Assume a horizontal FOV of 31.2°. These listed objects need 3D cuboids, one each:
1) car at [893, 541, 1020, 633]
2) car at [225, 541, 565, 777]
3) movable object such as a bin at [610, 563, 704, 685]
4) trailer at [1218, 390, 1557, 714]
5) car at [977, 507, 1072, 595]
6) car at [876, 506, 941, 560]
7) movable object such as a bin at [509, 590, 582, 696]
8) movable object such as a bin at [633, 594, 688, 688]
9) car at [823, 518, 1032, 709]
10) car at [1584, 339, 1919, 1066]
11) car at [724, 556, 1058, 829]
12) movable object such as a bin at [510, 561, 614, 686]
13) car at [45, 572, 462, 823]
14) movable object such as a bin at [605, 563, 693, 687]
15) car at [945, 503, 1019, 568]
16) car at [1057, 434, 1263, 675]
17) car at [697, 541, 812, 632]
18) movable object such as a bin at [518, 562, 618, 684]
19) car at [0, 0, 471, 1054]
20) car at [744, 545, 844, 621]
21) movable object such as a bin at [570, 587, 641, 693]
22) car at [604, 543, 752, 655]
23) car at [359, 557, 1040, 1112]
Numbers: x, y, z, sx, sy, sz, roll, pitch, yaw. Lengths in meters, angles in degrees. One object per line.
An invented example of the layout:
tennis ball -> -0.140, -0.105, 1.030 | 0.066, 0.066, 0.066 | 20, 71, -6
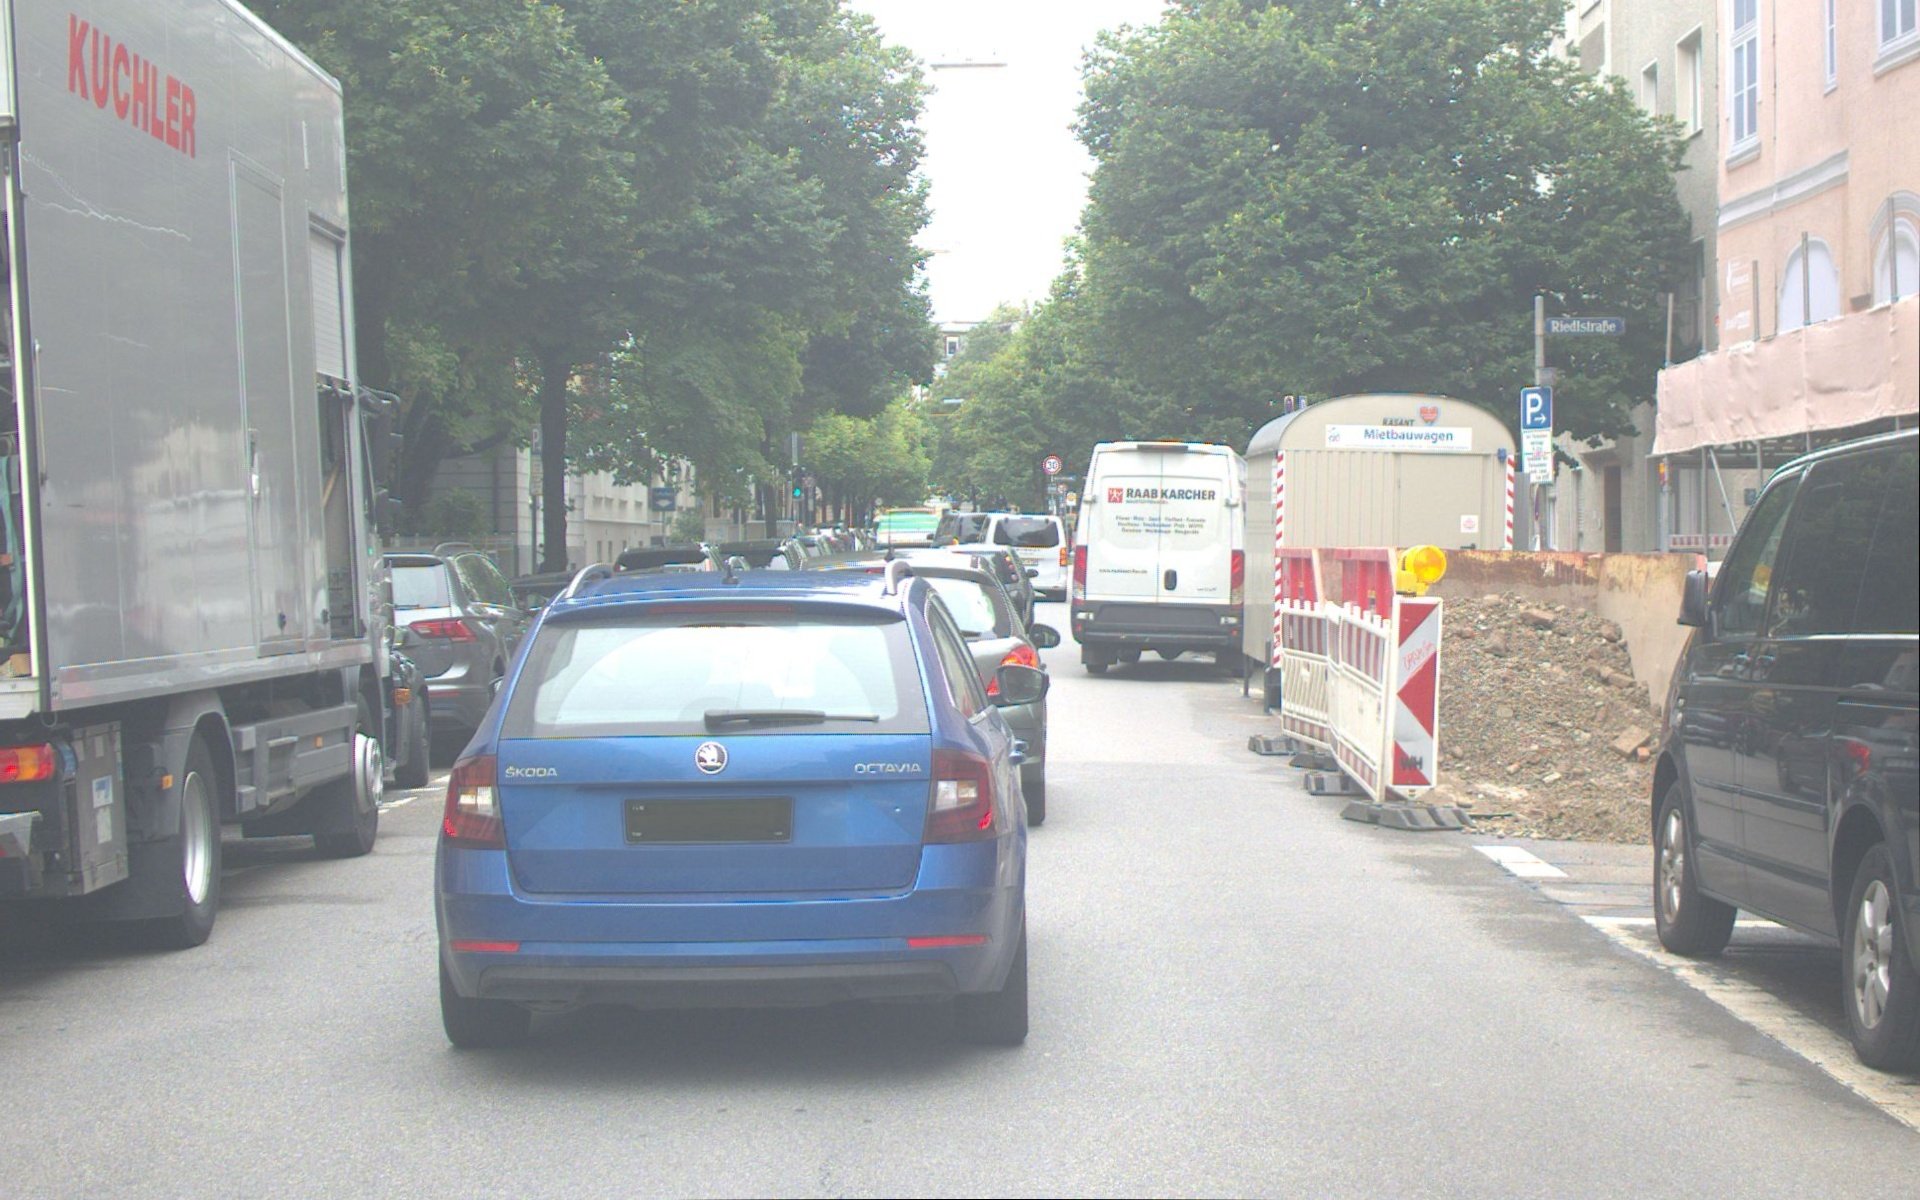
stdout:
car -> -0.096, -0.233, 54.772 | 1.867, 1.343, 4.348 | 1, 1, -2
car -> -4.248, 0.384, 26.467 | 1.785, 1.622, 4.185 | -2, 1, 1
movable object such as a bin -> -3.592, 0.276, 40.871 | 1.020, 1.372, 1.104 | -3, 1, -3
trailer -> 4.027, -0.454, 33.760 | 2.502, 2.830, 6.901 | 1, 0, 1
car -> 1.374, -1.096, 75.265 | 1.867, 1.863, 4.348 | 1, 1, -2
car -> -1.665, -2.143, 109.226 | 2.008, 1.647, 4.348 | 1, 1, -1
movable object such as a bin -> -4.675, 0.480, 38.818 | 0.721, 1.134, 0.659 | -3, 1, -3
movable object such as a bin -> -3.388, 0.462, 38.918 | 0.546, 1.017, 0.636 | -3, 1, -3
car -> -0.293, 0.071, 33.163 | 1.867, 1.690, 4.347 | 1, 1, 0
car -> 3.551, 0.344, 11.604 | 2.082, 1.914, 5.140 | 1, -1, 2
car -> -0.325, 0.460, 19.763 | 1.741, 1.417, 3.664 | 0, 1, 1
movable object such as a bin -> -4.587, 0.260, 39.701 | 1.081, 1.372, 1.084 | -3, 1, -3
car -> -4.339, 0.548, 21.661 | 1.699, 1.404, 3.708 | -1, 1, 2
movable object such as a bin -> -3.590, 0.280, 39.772 | 0.918, 1.372, 1.080 | -3, 1, -3
car -> 0.596, -1.700, 89.661 | 1.867, 1.647, 4.347 | 1, 1, 1
car -> 2.453, -0.529, 40.877 | 2.113, 2.654, 5.499 | 1, 0, 6
car -> -3.451, -0.262, 58.319 | 1.812, 1.473, 4.000 | 0, 1, -1
movable object such as a bin -> -4.649, 0.265, 40.803 | 1.057, 1.372, 1.096 | -3, 1, -3
car -> -4.182, -0.559, 14.782 | 2.812, 3.804, 8.723 | -1, 1, 0
car -> -3.376, -0.369, 70.361 | 1.812, 1.473, 4.000 | 0, 1, 1
movable object such as a bin -> -4.007, 0.449, 38.865 | 0.711, 1.144, 0.636 | -3, 1, -3
car -> -3.862, -0.048, 47.593 | 1.812, 1.473, 4.000 | 0, 1, -1
car -> -0.650, 0.605, 11.372 | 1.789, 1.455, 4.314 | -1, 1, 2
